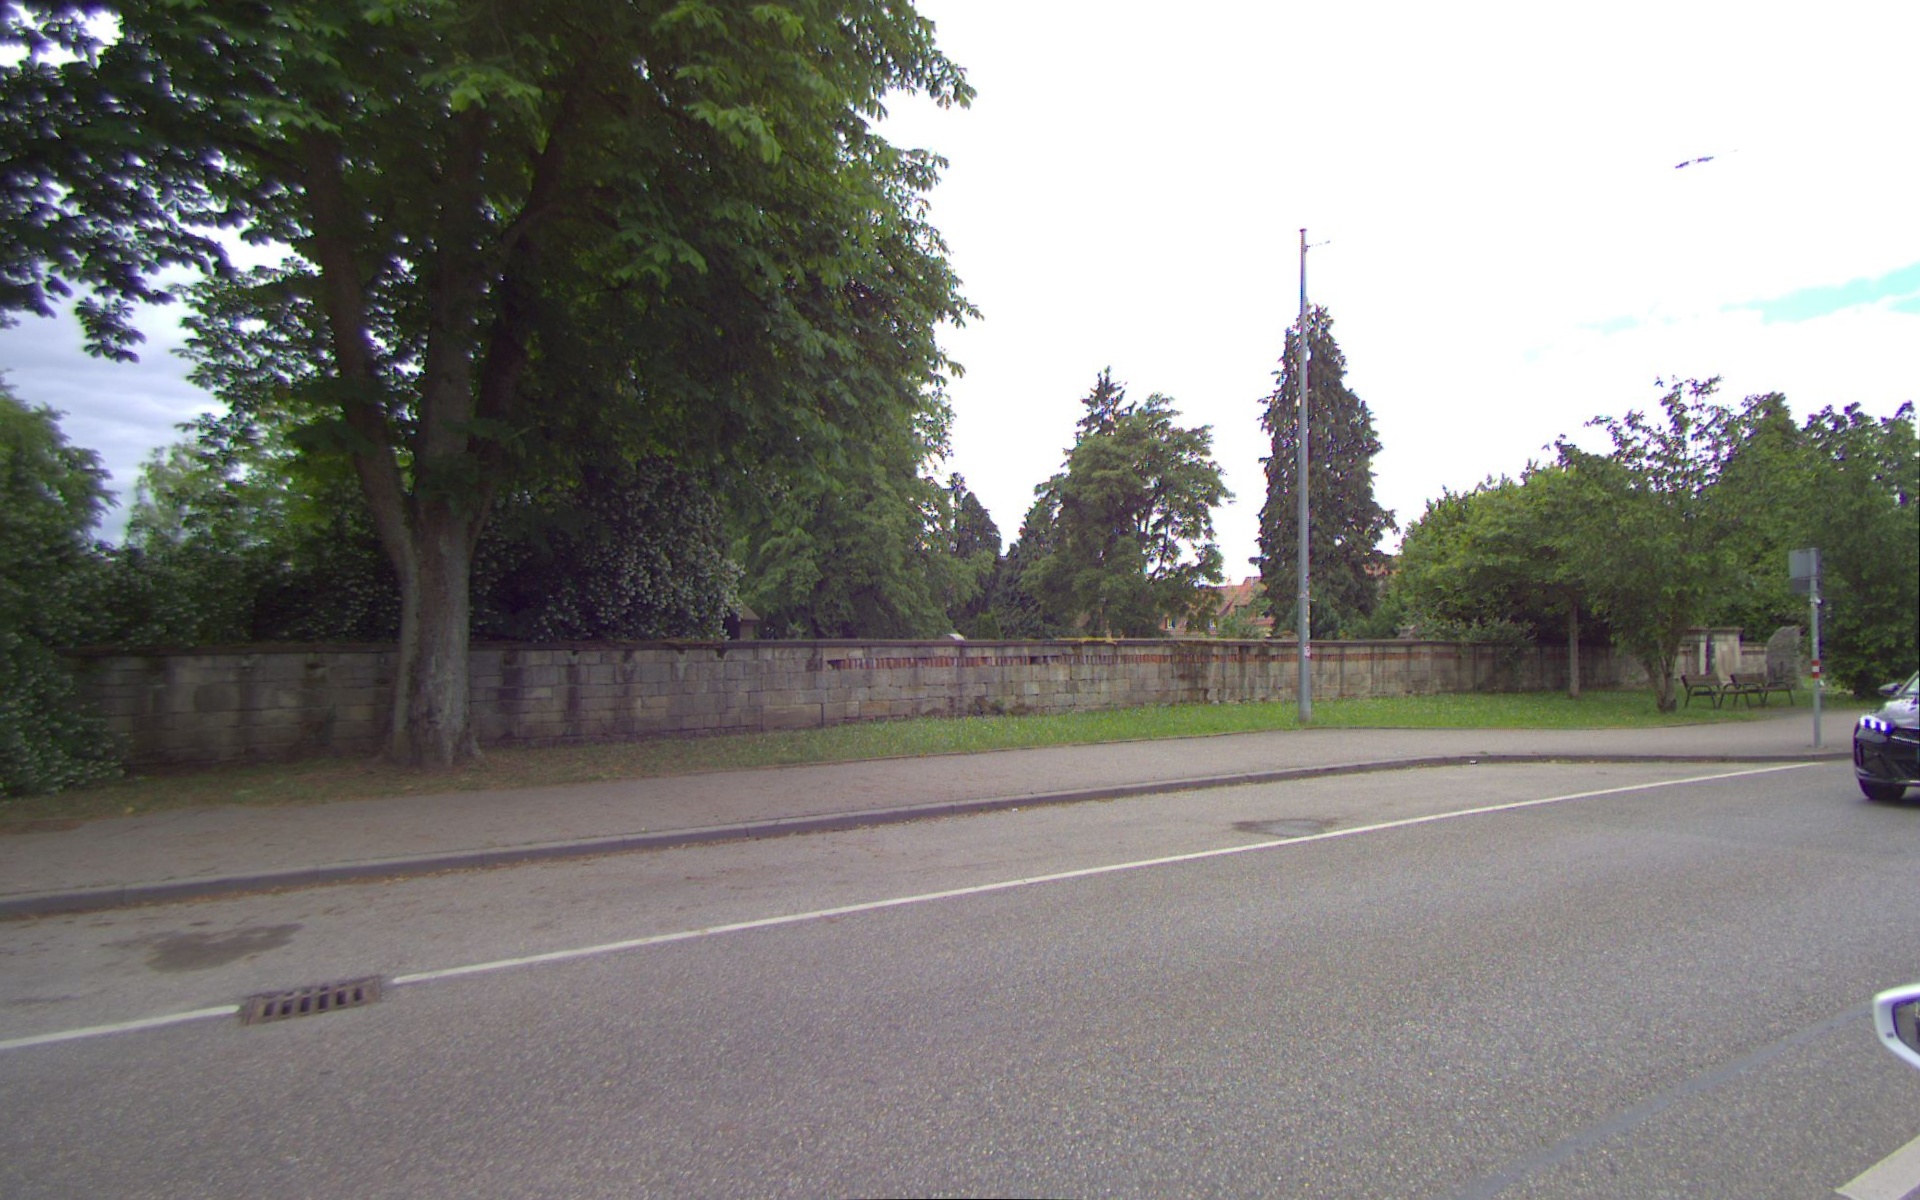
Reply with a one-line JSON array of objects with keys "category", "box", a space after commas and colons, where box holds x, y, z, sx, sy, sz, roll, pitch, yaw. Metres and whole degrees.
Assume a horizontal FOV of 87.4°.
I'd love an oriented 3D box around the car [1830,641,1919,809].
[{"category": "car", "box": [10.415, 1.157, 9.798, 3.953, 1.502, 1.693, 2, -5, -30]}]
